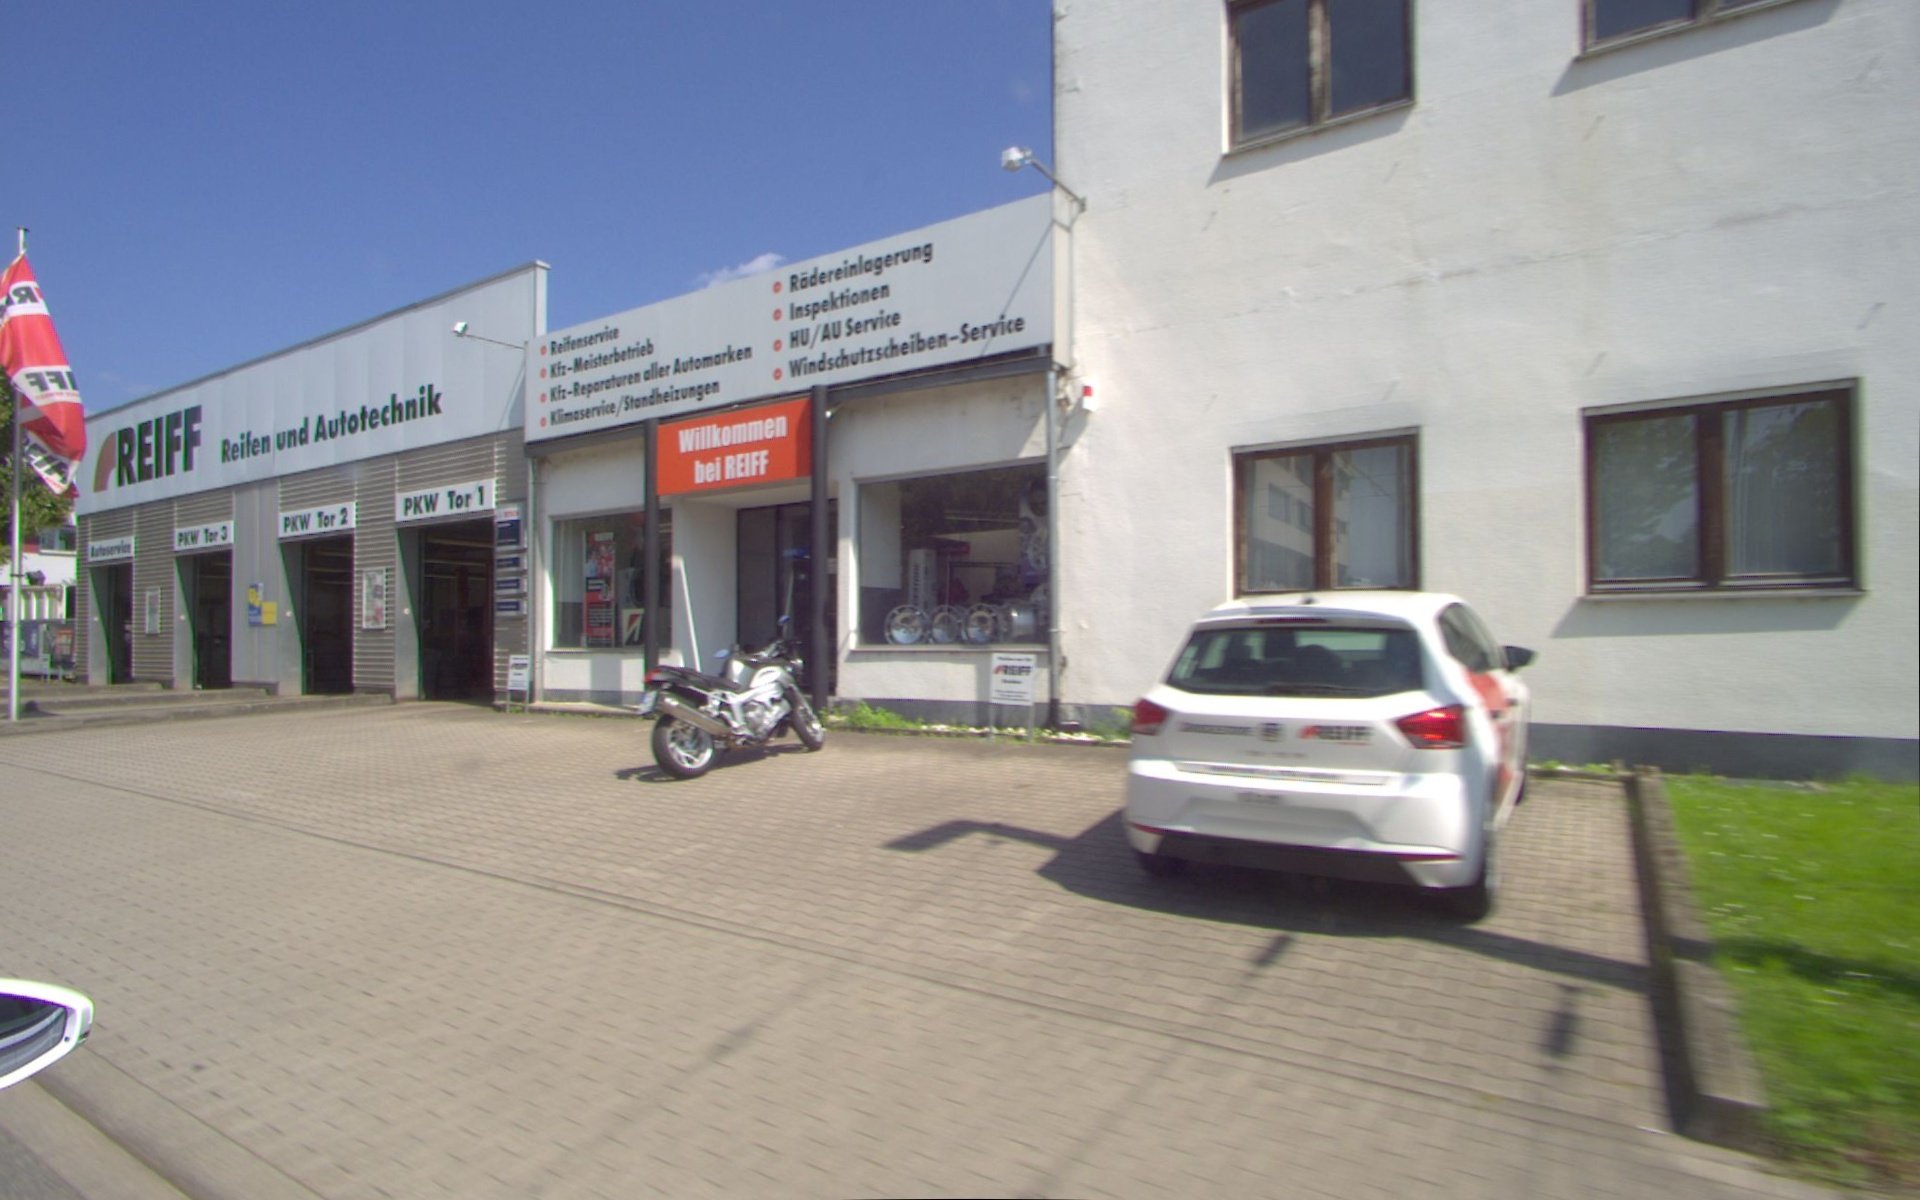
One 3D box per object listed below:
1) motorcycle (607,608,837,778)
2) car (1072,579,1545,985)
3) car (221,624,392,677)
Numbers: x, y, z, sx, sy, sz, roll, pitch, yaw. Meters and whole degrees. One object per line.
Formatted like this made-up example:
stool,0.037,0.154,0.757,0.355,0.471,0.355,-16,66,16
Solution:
motorcycle,-2.121,0.772,9.289,0.721,1.326,2.178,-1,1,31
car,2.363,0.666,5.946,1.862,1.482,3.978,-1,1,31
car,-18.539,1.394,28.576,1.698,1.393,3.760,0,-2,28
